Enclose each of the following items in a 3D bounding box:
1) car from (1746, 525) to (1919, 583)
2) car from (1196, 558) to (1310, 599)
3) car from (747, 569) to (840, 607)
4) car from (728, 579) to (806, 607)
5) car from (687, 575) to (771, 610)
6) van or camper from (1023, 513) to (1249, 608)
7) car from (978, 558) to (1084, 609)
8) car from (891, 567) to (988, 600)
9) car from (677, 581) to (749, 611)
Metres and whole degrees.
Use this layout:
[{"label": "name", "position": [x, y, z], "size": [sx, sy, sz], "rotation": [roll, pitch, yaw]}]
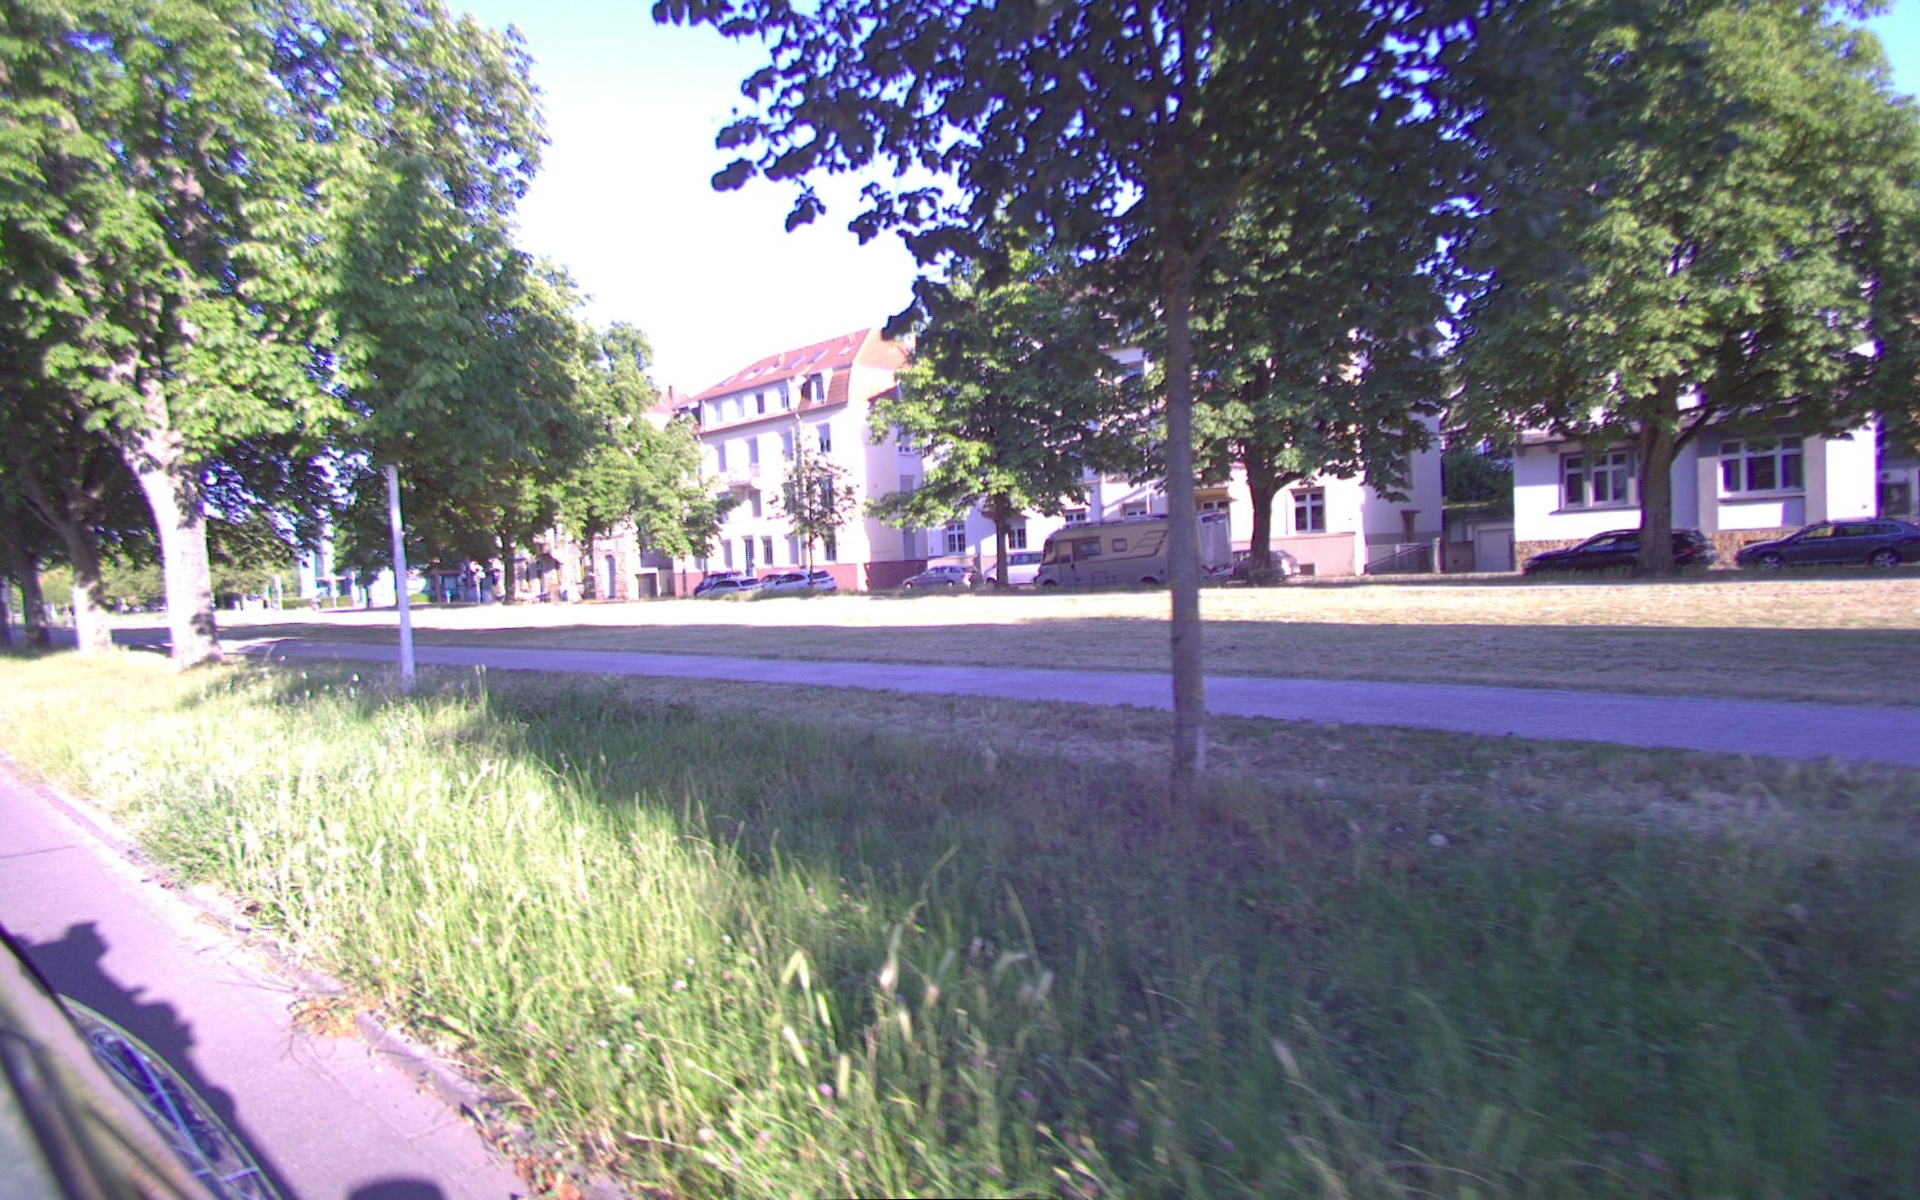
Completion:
[{"label": "car", "position": [25.586, -1.327, 29.399], "size": [4.169, 1.440, 1.972], "rotation": [-2, 2, 43]}, {"label": "car", "position": [11.940, -0.866, 41.320], "size": [3.998, 1.475, 1.973], "rotation": [-2, 3, 41]}, {"label": "car", "position": [-8.489, -0.596, 51.448], "size": [4.874, 1.702, 1.973], "rotation": [-1, 2, 42]}, {"label": "car", "position": [-11.813, -0.430, 61.885], "size": [4.871, 1.464, 1.974], "rotation": [-2, 2, 39]}, {"label": "car", "position": [-12.597, -0.393, 55.055], "size": [4.874, 1.702, 1.973], "rotation": [-1, 2, 42]}, {"label": "van or camper", "position": [6.530, -1.424, 38.524], "size": [7.894, 3.133, 3.220], "rotation": [-1, 2, 42]}, {"label": "car", "position": [3.397, -0.788, 48.797], "size": [4.876, 2.218, 1.972], "rotation": [-1, 2, 43]}, {"label": "car", "position": [-1.082, -0.820, 52.404], "size": [4.871, 1.464, 1.974], "rotation": [-2, 2, 39]}, {"label": "car", "position": [-16.162, -0.247, 66.054], "size": [4.871, 1.702, 1.974], "rotation": [-2, 2, 39]}]
